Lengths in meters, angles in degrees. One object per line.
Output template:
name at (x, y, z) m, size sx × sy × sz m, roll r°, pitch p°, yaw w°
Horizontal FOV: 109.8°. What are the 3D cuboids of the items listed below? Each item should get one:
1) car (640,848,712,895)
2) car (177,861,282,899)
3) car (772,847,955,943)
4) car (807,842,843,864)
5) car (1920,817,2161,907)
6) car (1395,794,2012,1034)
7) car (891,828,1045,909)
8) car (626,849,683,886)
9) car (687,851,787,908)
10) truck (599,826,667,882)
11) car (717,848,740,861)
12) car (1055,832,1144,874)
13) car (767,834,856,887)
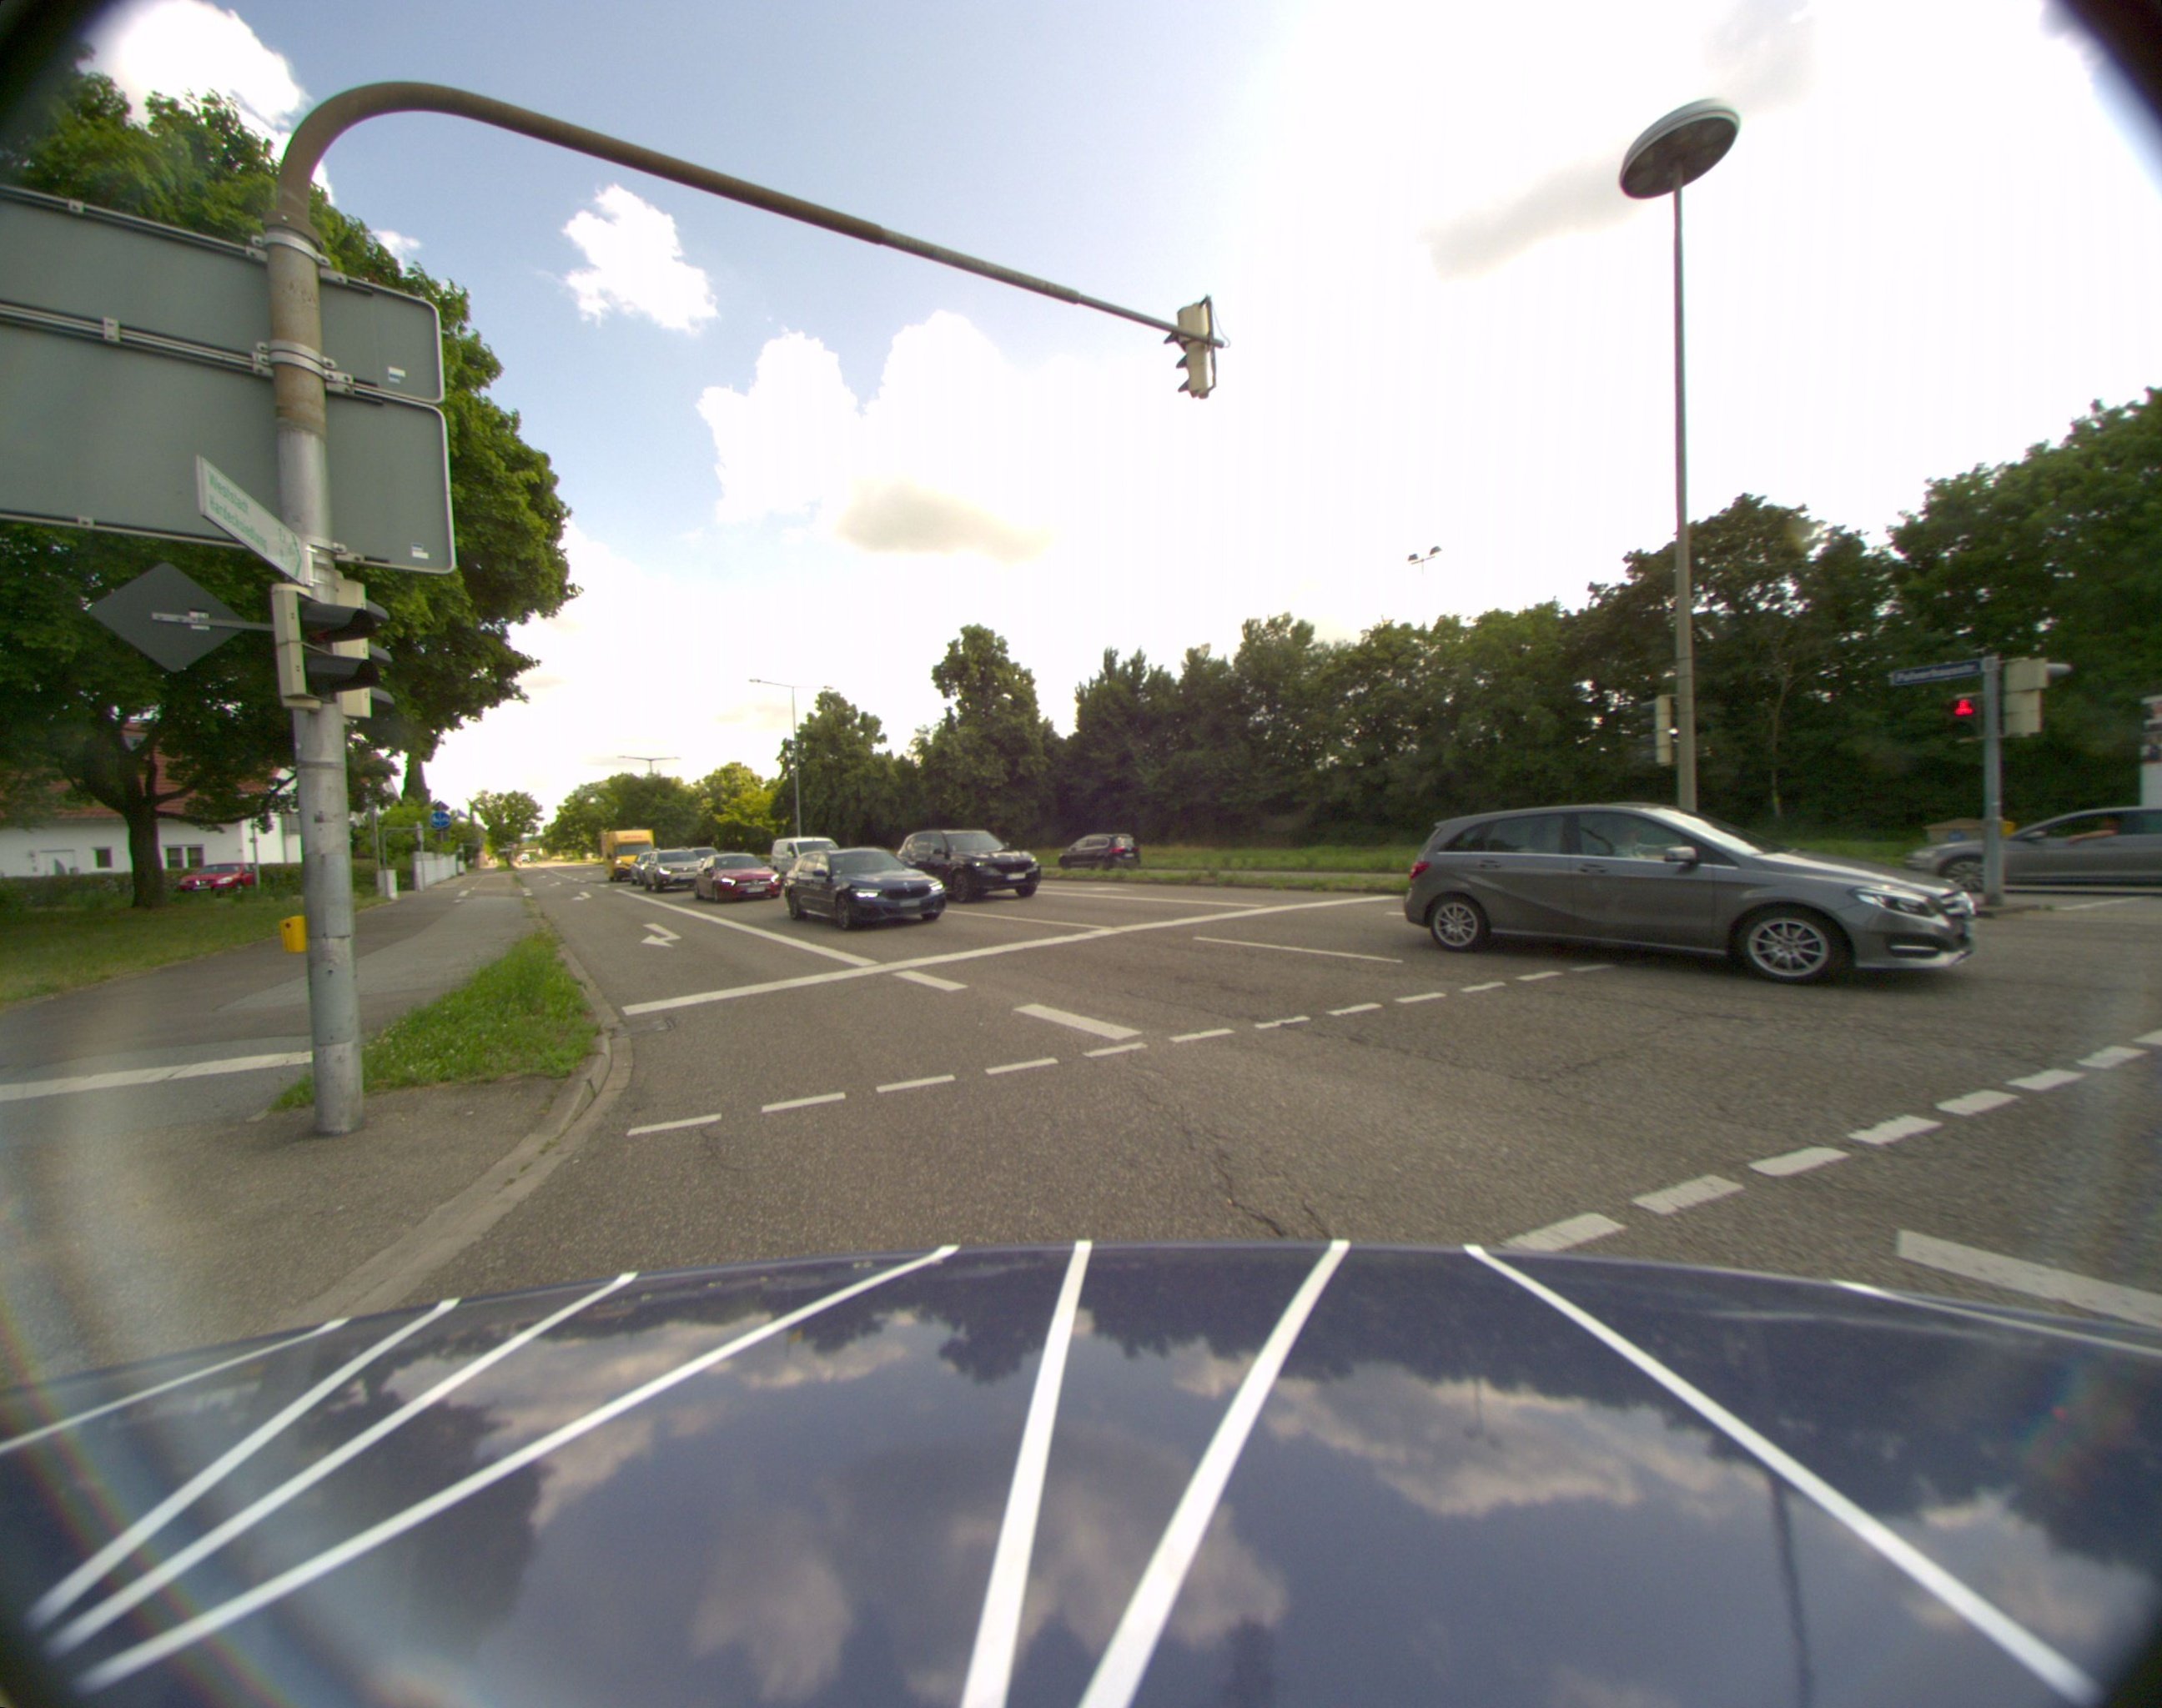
car at (-15.868, 0.617, 29.695) m, size 1.731 × 1.603 × 4.164 m, roll -5°, pitch 4°, yaw -37°
car at (-39.334, 1.153, 35.249) m, size 1.684 × 1.522 × 4.383 m, roll -3°, pitch 2°, yaw -27°
car at (-4.537, 0.672, 15.307) m, size 1.805 × 1.489 × 4.859 m, roll -6°, pitch 4°, yaw -37°
car at (-22.224, -0.097, 65.886) m, size 1.679 × 1.784 × 4.242 m, roll -4°, pitch 3°, yaw -37°
car at (16.947, 0.105, 12.528) m, size 1.602 × 1.365 × 4.070 m, roll -3°, pitch 2°, yaw -38°
car at (5.585, 0.376, 7.405) m, size 1.707 × 1.610 × 4.348 m, roll -5°, pitch 3°, yaw -37°
car at (-2.986, 0.287, 19.249) m, size 1.821 × 1.736 × 4.537 m, roll -5°, pitch 4°, yaw -37°
car at (-20.429, 0.601, 36.300) m, size 1.731 × 1.522 × 3.883 m, roll -6°, pitch 4°, yaw -37°
car at (-10.695, 0.692, 23.434) m, size 1.731 × 1.454 × 4.523 m, roll -6°, pitch 4°, yaw -37°
truck at (-25.651, -0.019, 43.344) m, size 2.369 × 2.844 × 6.947 m, roll -6°, pitch 4°, yaw -37°
car at (-42.682, 0.049, 91.932) m, size 1.534 × 1.450 × 4.195 m, roll -3°, pitch 3°, yaw -39°
car at (0.761, -0.085, 34.552) m, size 1.679 × 1.732 × 4.298 m, roll -4°, pitch 3°, yaw -37°
car at (-10.407, 0.194, 29.166) m, size 1.774 × 1.788 × 4.717 m, roll -5°, pitch 4°, yaw -37°
